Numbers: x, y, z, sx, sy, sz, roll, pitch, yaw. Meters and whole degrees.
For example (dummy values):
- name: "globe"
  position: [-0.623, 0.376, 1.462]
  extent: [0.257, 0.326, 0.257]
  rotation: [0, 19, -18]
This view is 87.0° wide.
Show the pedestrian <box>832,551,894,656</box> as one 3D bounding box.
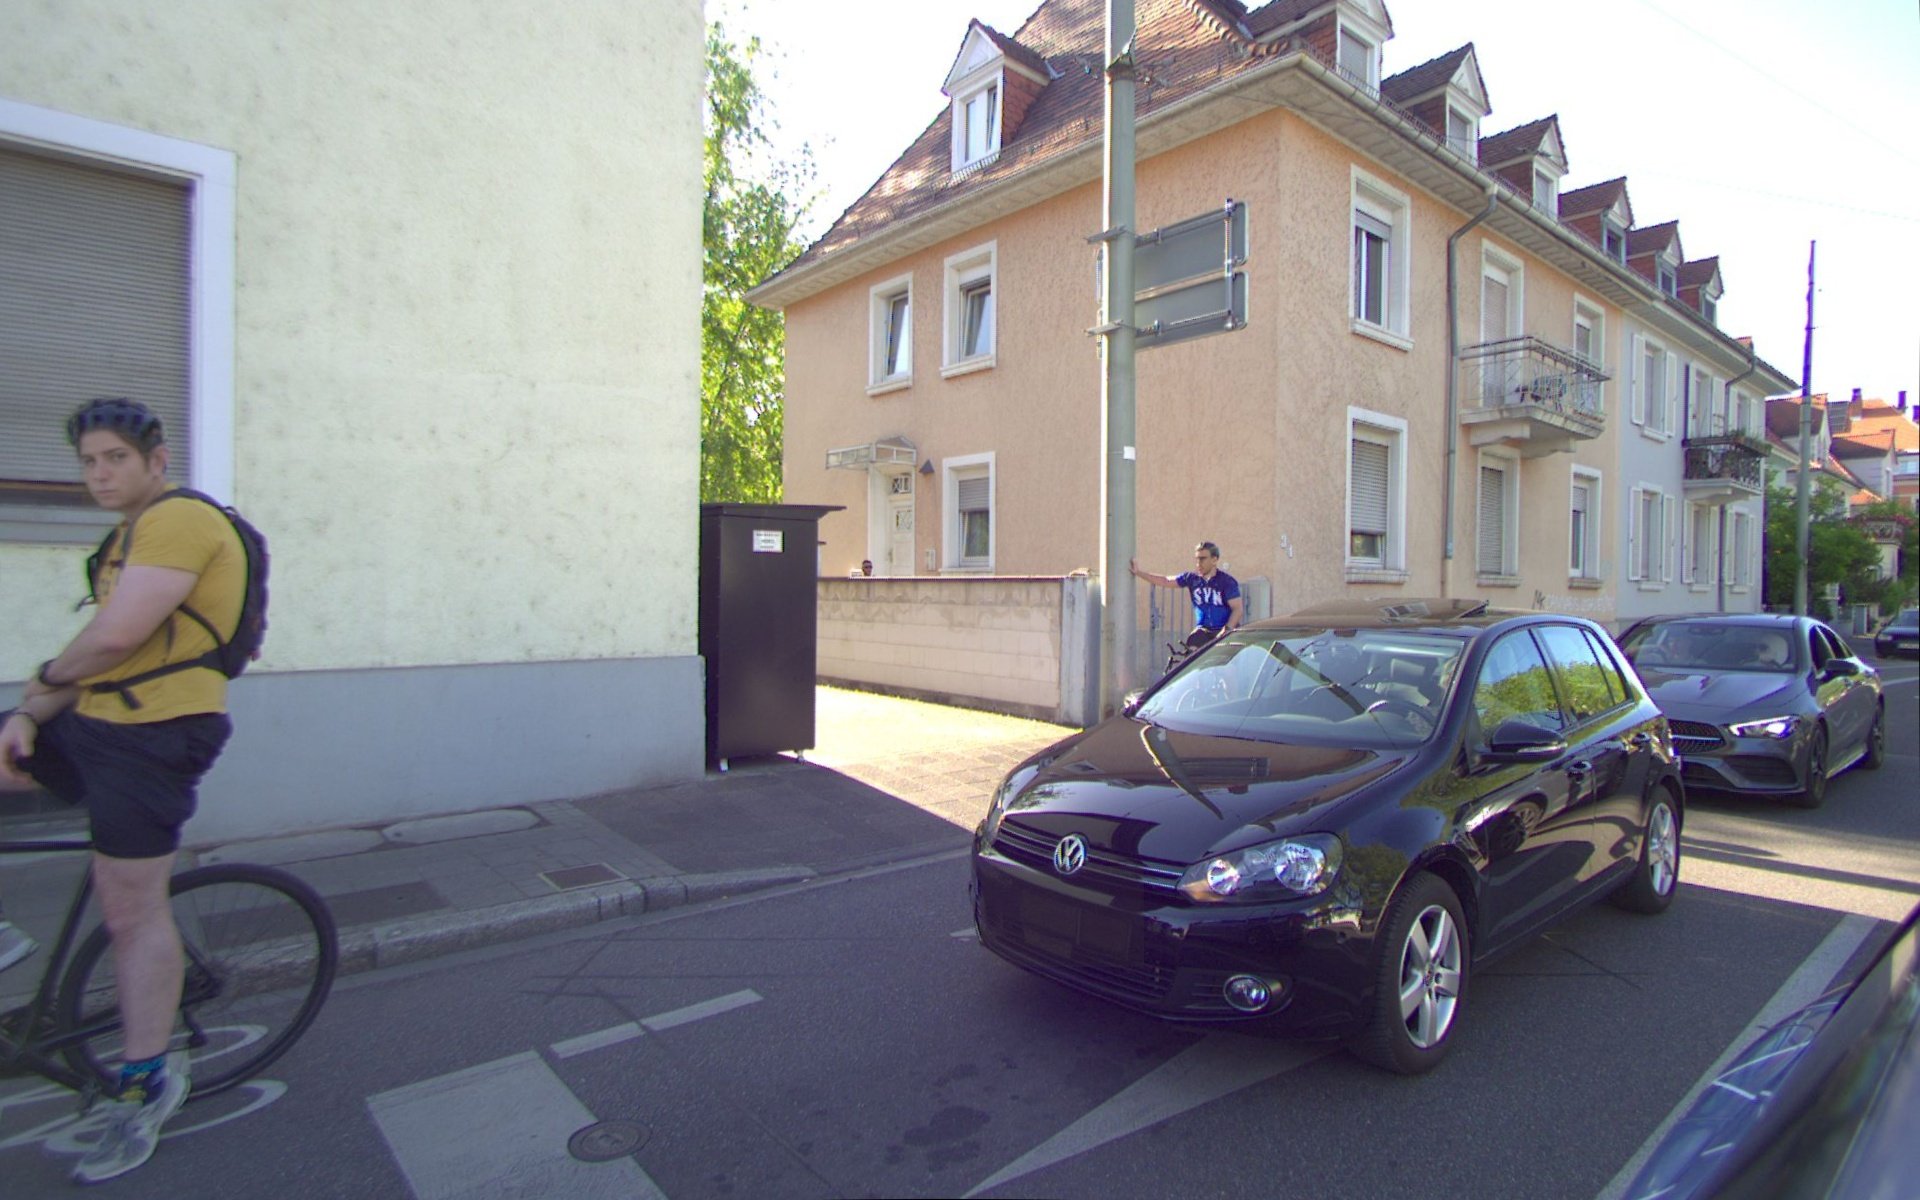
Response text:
- name: "pedestrian"
  position: [-1.590, 0.042, 16.551]
  extent: [0.600, 1.624, 0.760]
  rotation: [0, 6, -43]

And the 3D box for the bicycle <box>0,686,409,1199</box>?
- name: "bicycle"
  position: [-2.478, 0.862, 2.584]
  extent: [0.777, 1.120, 1.720]
  rotation: [0, 0, 36]

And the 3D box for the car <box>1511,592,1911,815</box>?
- name: "car"
  position: [6.627, 0.698, 8.737]
  extent: [4.410, 1.449, 1.824]
  rotation: [1, 0, -40]

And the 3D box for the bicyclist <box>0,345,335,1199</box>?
- name: "bicyclist"
  position: [-2.302, 0.416, 2.765]
  extent: [0.777, 1.991, 0.768]
  rotation: [0, 0, 36]

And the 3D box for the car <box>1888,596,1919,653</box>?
- name: "car"
  position: [26.757, 0.620, 27.437]
  extent: [4.258, 1.448, 1.824]
  rotation: [-1, 0, -40]

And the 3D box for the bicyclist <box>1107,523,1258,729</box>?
- name: "bicyclist"
  position: [2.006, 0.194, 9.159]
  extent: [1.018, 1.714, 0.718]
  rotation: [6, 4, 42]

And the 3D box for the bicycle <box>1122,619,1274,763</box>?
- name: "bicycle"
  position: [2.152, 0.755, 9.026]
  extent: [0.554, 1.088, 1.601]
  rotation: [6, 4, 42]

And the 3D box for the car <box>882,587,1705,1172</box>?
- name: "car"
  position: [1.735, 0.682, 4.483]
  extent: [3.921, 1.456, 1.716]
  rotation: [-1, 0, -41]
